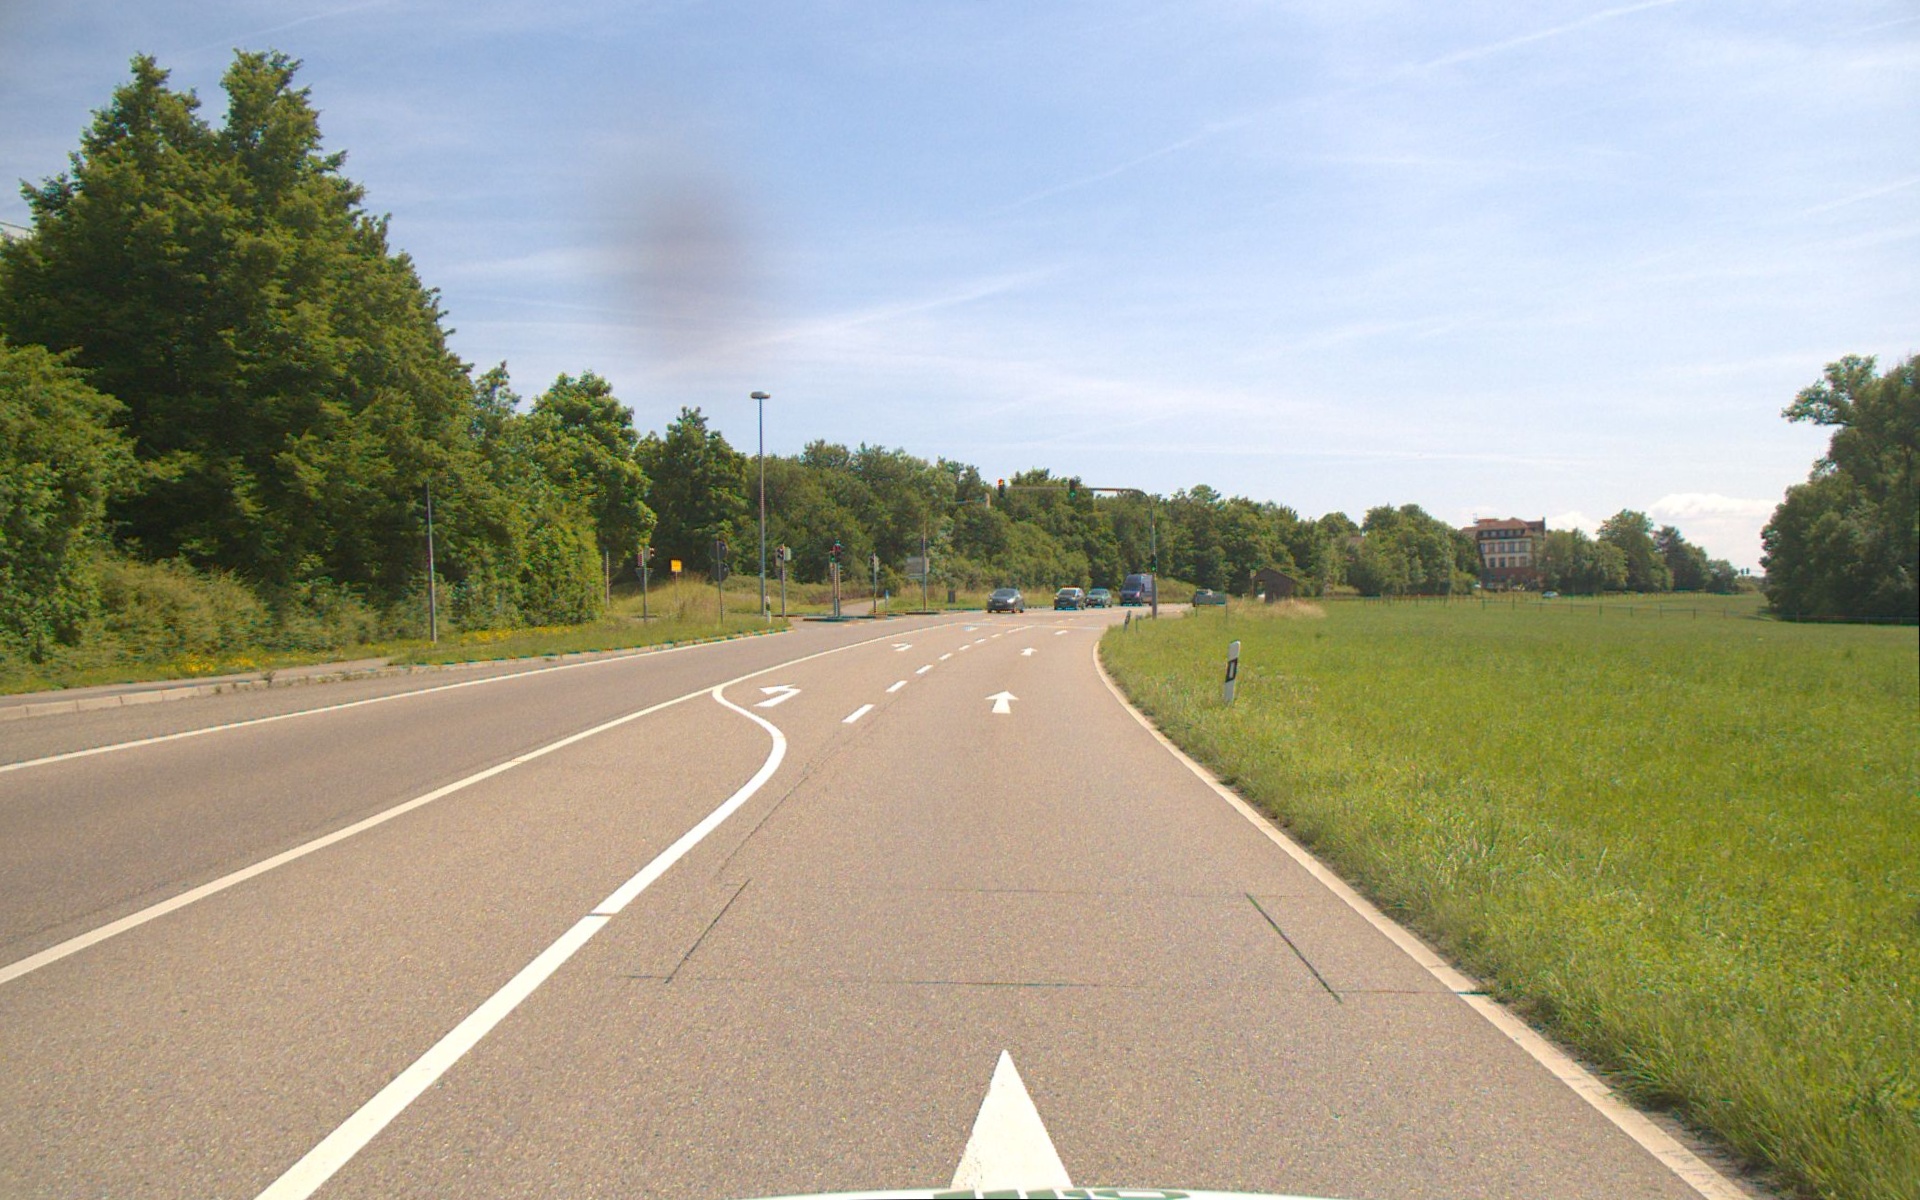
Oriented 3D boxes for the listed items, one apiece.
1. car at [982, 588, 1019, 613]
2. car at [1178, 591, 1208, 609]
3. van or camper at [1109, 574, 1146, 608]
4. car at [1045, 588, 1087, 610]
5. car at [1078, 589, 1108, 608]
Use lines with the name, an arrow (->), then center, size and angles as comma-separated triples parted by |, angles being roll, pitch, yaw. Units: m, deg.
car -> 2.542, 0.029, 102.198 | 1.753, 1.500, 4.314 | 1, 0, 8
car -> 20.979, -0.029, 148.751 | 1.952, 1.601, 4.002 | 1, 0, 18
van or camper -> 15.321, -0.873, 150.994 | 2.192, 2.964, 7.253 | 0, 2, 15
car -> 7.798, -0.084, 121.221 | 1.933, 1.589, 4.189 | 1, 0, 21
car -> 10.885, -0.133, 135.429 | 1.671, 1.509, 3.834 | 1, 0, 17
